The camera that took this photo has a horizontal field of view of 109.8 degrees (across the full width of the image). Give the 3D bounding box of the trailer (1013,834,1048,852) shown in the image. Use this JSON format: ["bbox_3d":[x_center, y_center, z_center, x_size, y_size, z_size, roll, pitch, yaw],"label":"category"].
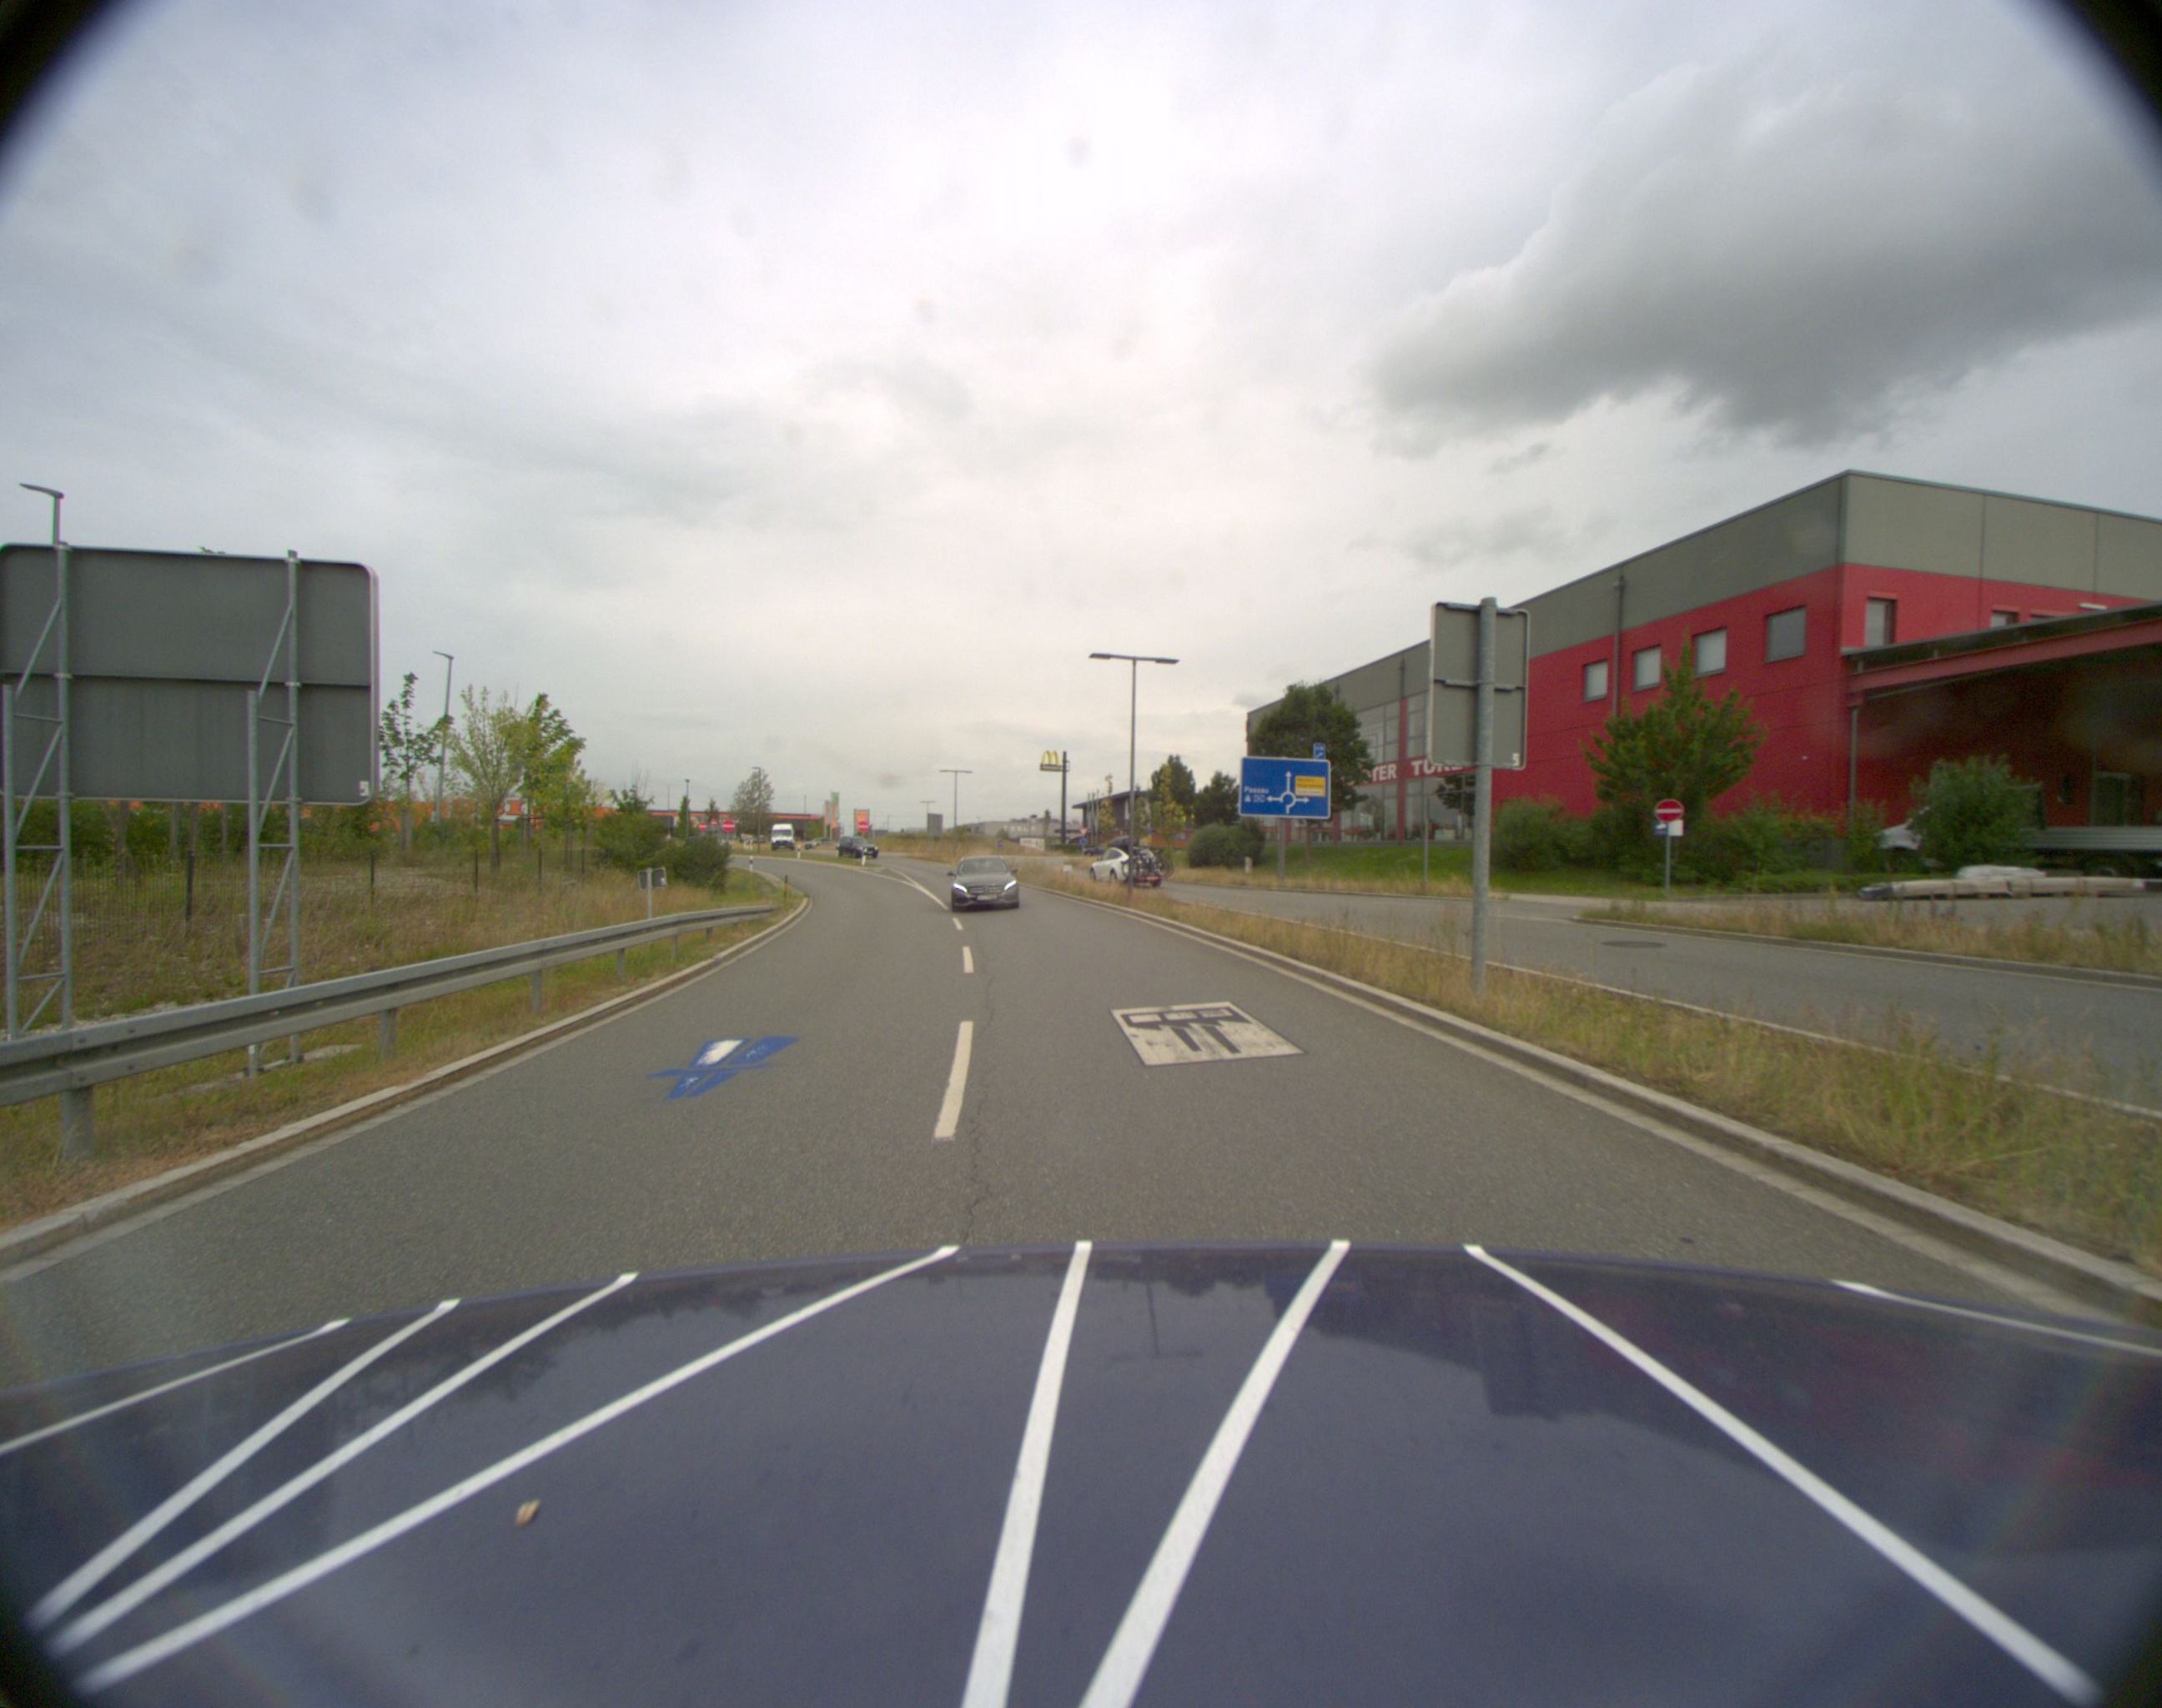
[{"bbox_3d":[-6.386,-1.357,95.808,4.133,2.079,1.816,3,2,38],"label":"trailer"}]

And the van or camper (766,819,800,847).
[{"bbox_3d":[-29.242,-2.057,74.456,2.338,2.635,6.029,-1,2,-29],"label":"van or camper"}]

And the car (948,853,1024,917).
[{"bbox_3d":[-2.802,0.790,21.887,1.907,1.489,4.334,-3,2,-9],"label":"car"}]

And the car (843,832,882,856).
[{"bbox_3d":[-17.544,-0.779,60.869,1.846,1.709,3.990,-3,1,-32],"label":"car"}]

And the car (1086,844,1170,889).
[{"bbox_3d":[1.849,0.479,31.357,1.916,1.617,4.630,-3,1,-16],"label":"car"}]

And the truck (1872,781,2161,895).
[{"bbox_3d":[23.947,-0.389,18.763,2.040,2.473,5.900,-1,1,-13],"label":"truck"}]

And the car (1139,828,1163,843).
[{"bbox_3d":[8.333,-2.182,89.770,1.892,1.650,4.023,1,2,19],"label":"car"}]
